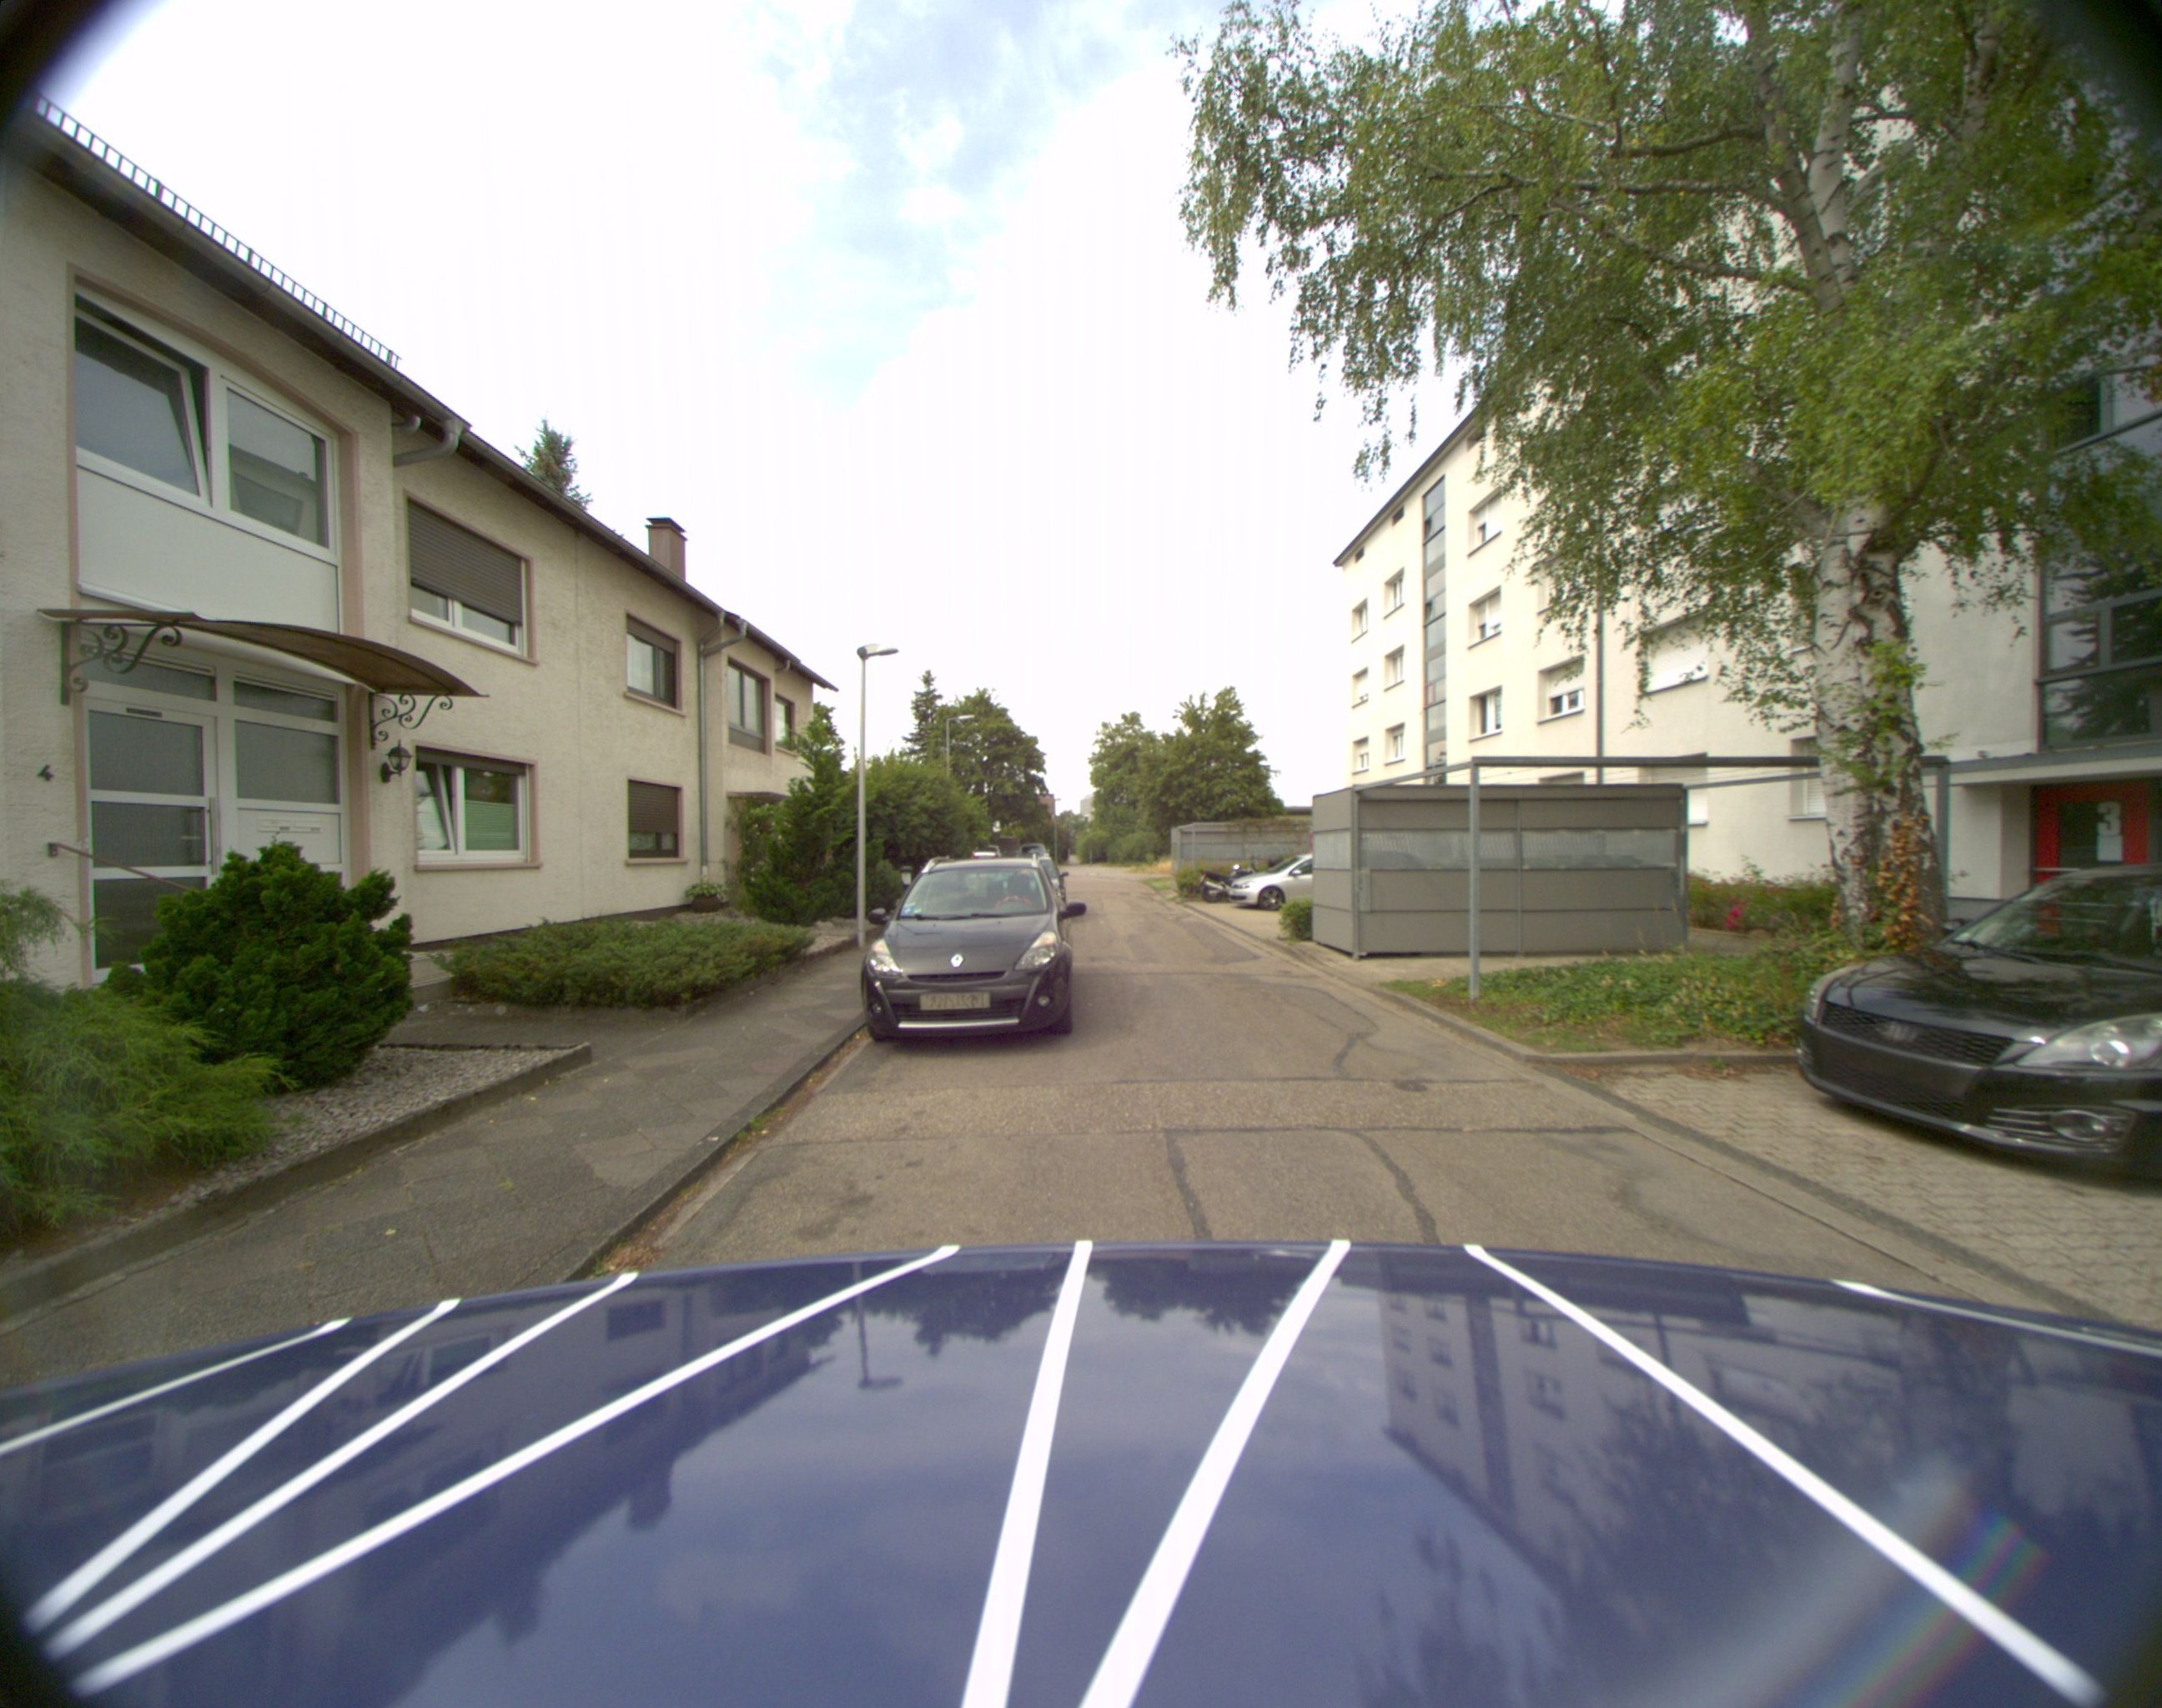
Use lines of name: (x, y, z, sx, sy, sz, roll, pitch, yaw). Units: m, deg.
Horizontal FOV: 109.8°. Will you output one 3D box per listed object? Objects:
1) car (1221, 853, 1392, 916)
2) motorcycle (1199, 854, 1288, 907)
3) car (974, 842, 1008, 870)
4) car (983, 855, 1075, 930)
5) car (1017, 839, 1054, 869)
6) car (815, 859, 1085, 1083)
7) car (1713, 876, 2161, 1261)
car: (5.930, 0.786, 20.375, 3.997, 1.477, 1.902, 2, 1, 1)
motorcycle: (4.681, 0.758, 22.028, 2.383, 1.456, 0.714, 1, 1, -1)
car: (-5.119, 0.076, 43.763, 1.705, 1.458, 3.997, 0, 2, -3)
car: (-1.171, 0.785, 17.696, 1.834, 1.449, 4.188, -2, 1, -3)
car: (-2.592, -0.031, 43.181, 1.926, 1.576, 3.998, -2, 1, -3)
car: (-1.009, 0.830, 7.420, 1.834, 1.449, 4.188, -2, 1, -3)
car: (6.100, 0.906, 4.006, 4.062, 1.496, 1.781, 0, 1, -1)
